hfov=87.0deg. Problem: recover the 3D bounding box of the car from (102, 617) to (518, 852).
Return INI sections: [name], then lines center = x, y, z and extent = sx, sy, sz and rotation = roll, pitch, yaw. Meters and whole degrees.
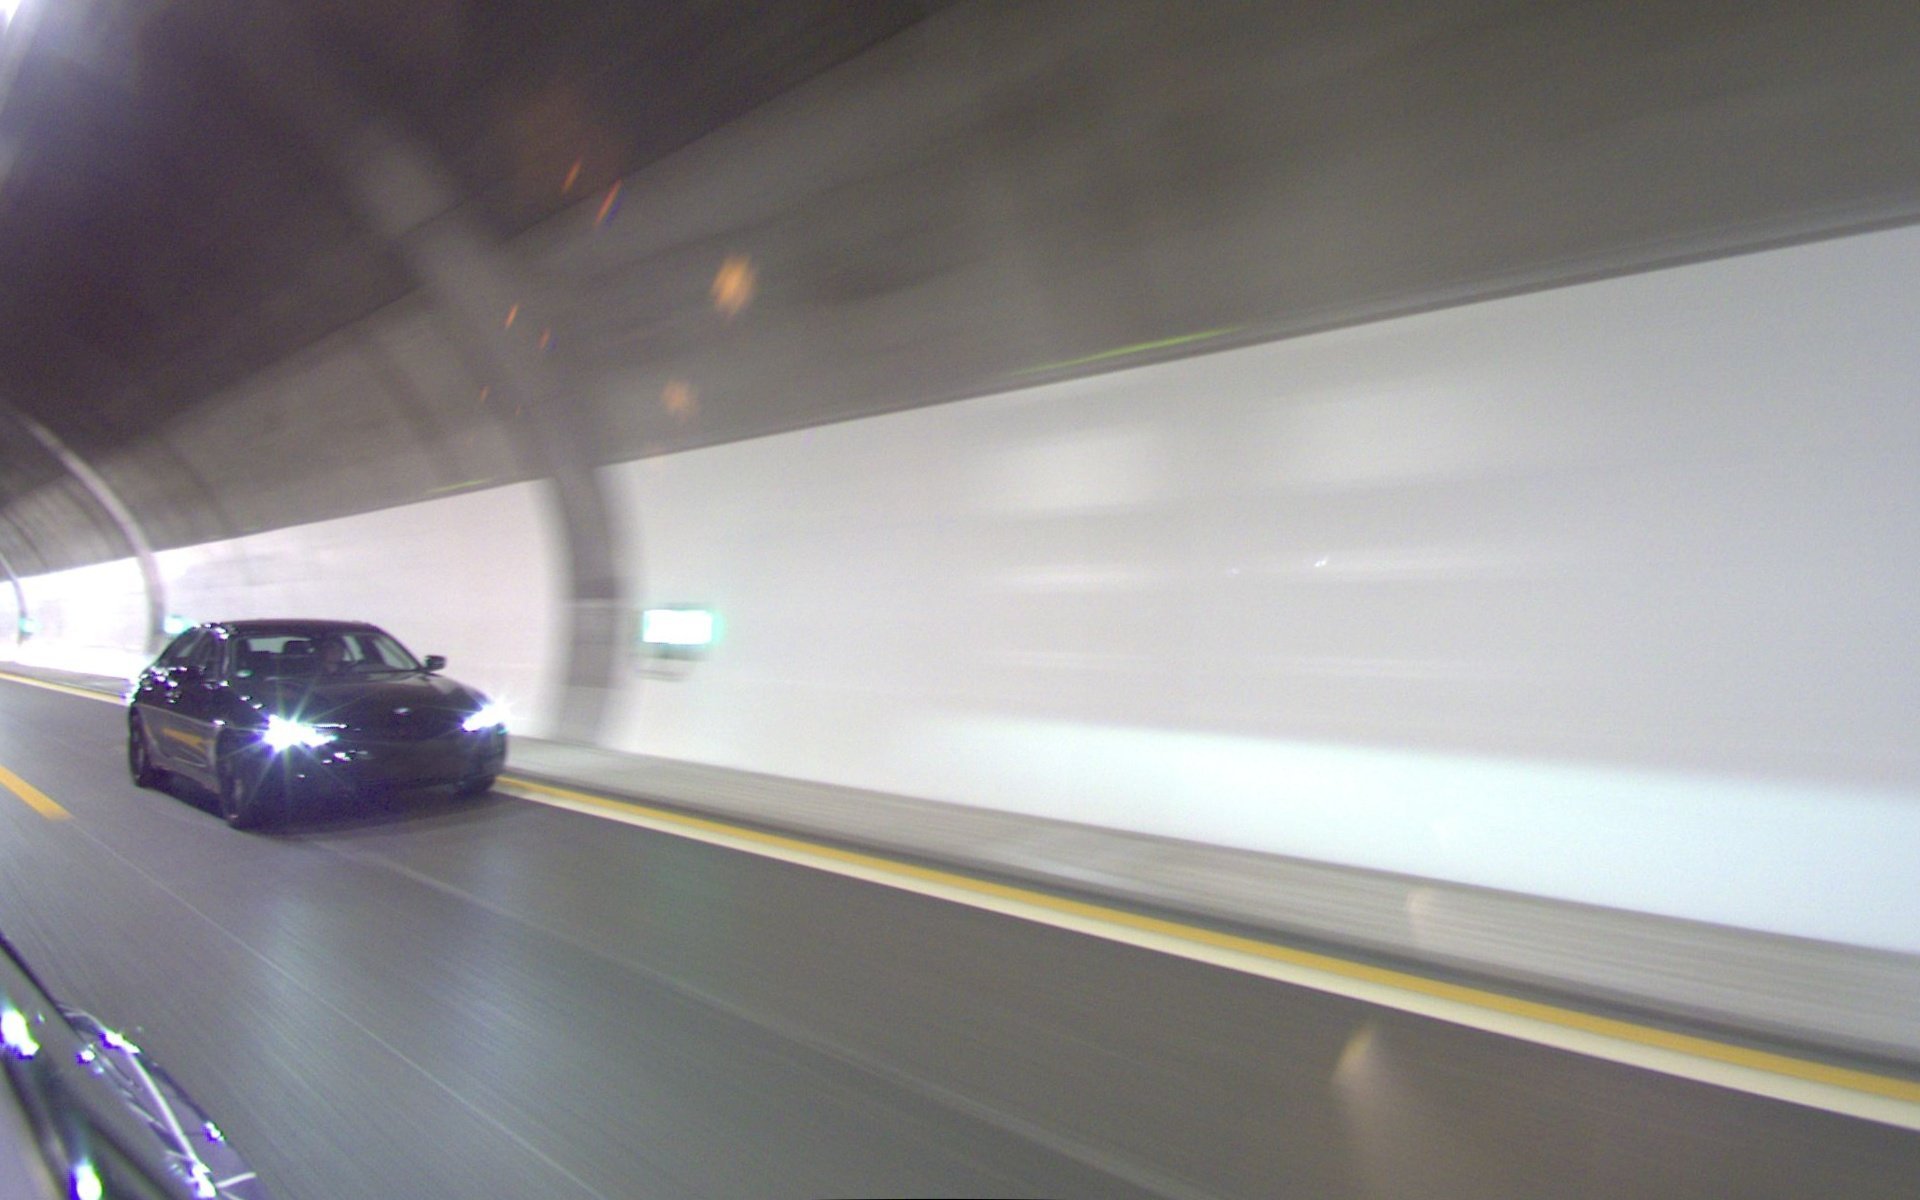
[car]
center = -5.780, 0.905, 8.689
extent = 4.881, 1.449, 1.759
rotation = -1, 0, 42
